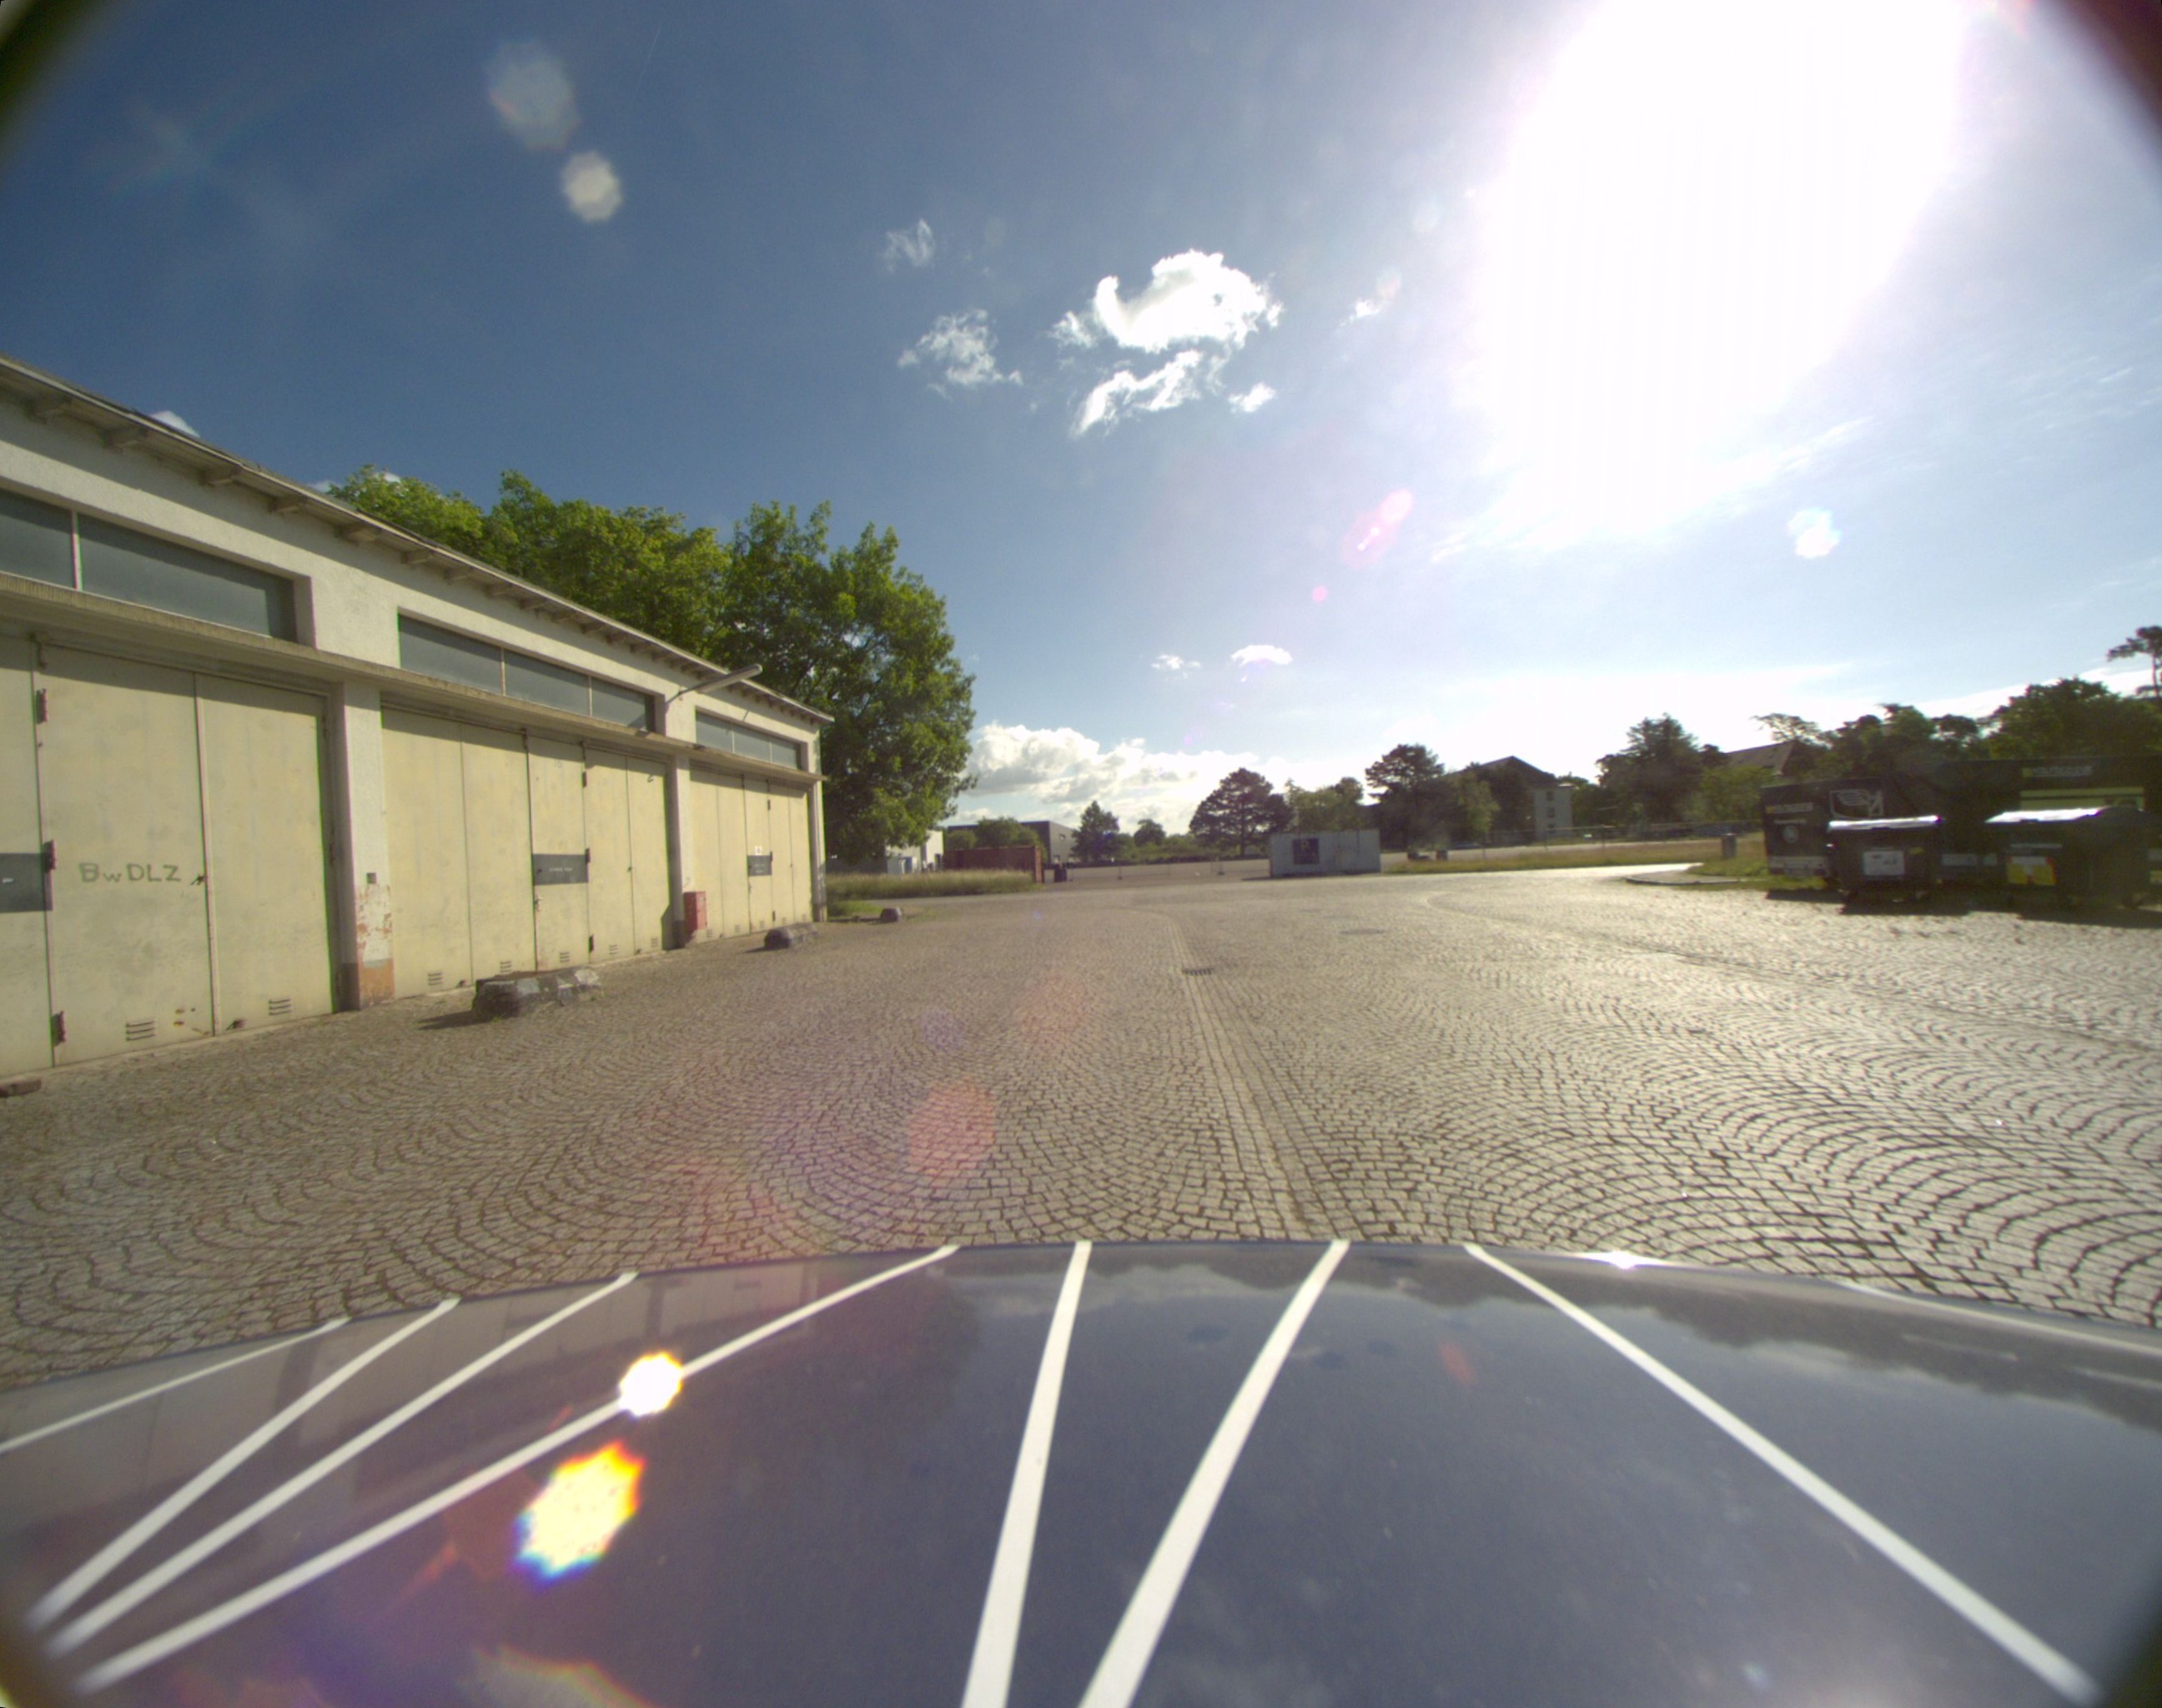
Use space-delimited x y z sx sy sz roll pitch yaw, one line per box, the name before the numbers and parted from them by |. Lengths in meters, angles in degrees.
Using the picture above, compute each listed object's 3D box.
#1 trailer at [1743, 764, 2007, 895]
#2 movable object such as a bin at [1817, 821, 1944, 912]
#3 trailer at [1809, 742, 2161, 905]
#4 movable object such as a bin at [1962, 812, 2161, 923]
trailer | 17.072 -0.505 16.529 3.392 2.455 2.045 -4 1 6
movable object such as a bin | 13.865 0.219 13.200 1.158 1.449 1.435 -4 1 -42
trailer | 16.830 -0.541 14.089 4.648 2.553 1.951 -4 1 1
movable object such as a bin | 14.174 0.183 11.053 1.020 1.449 1.441 -4 1 5
